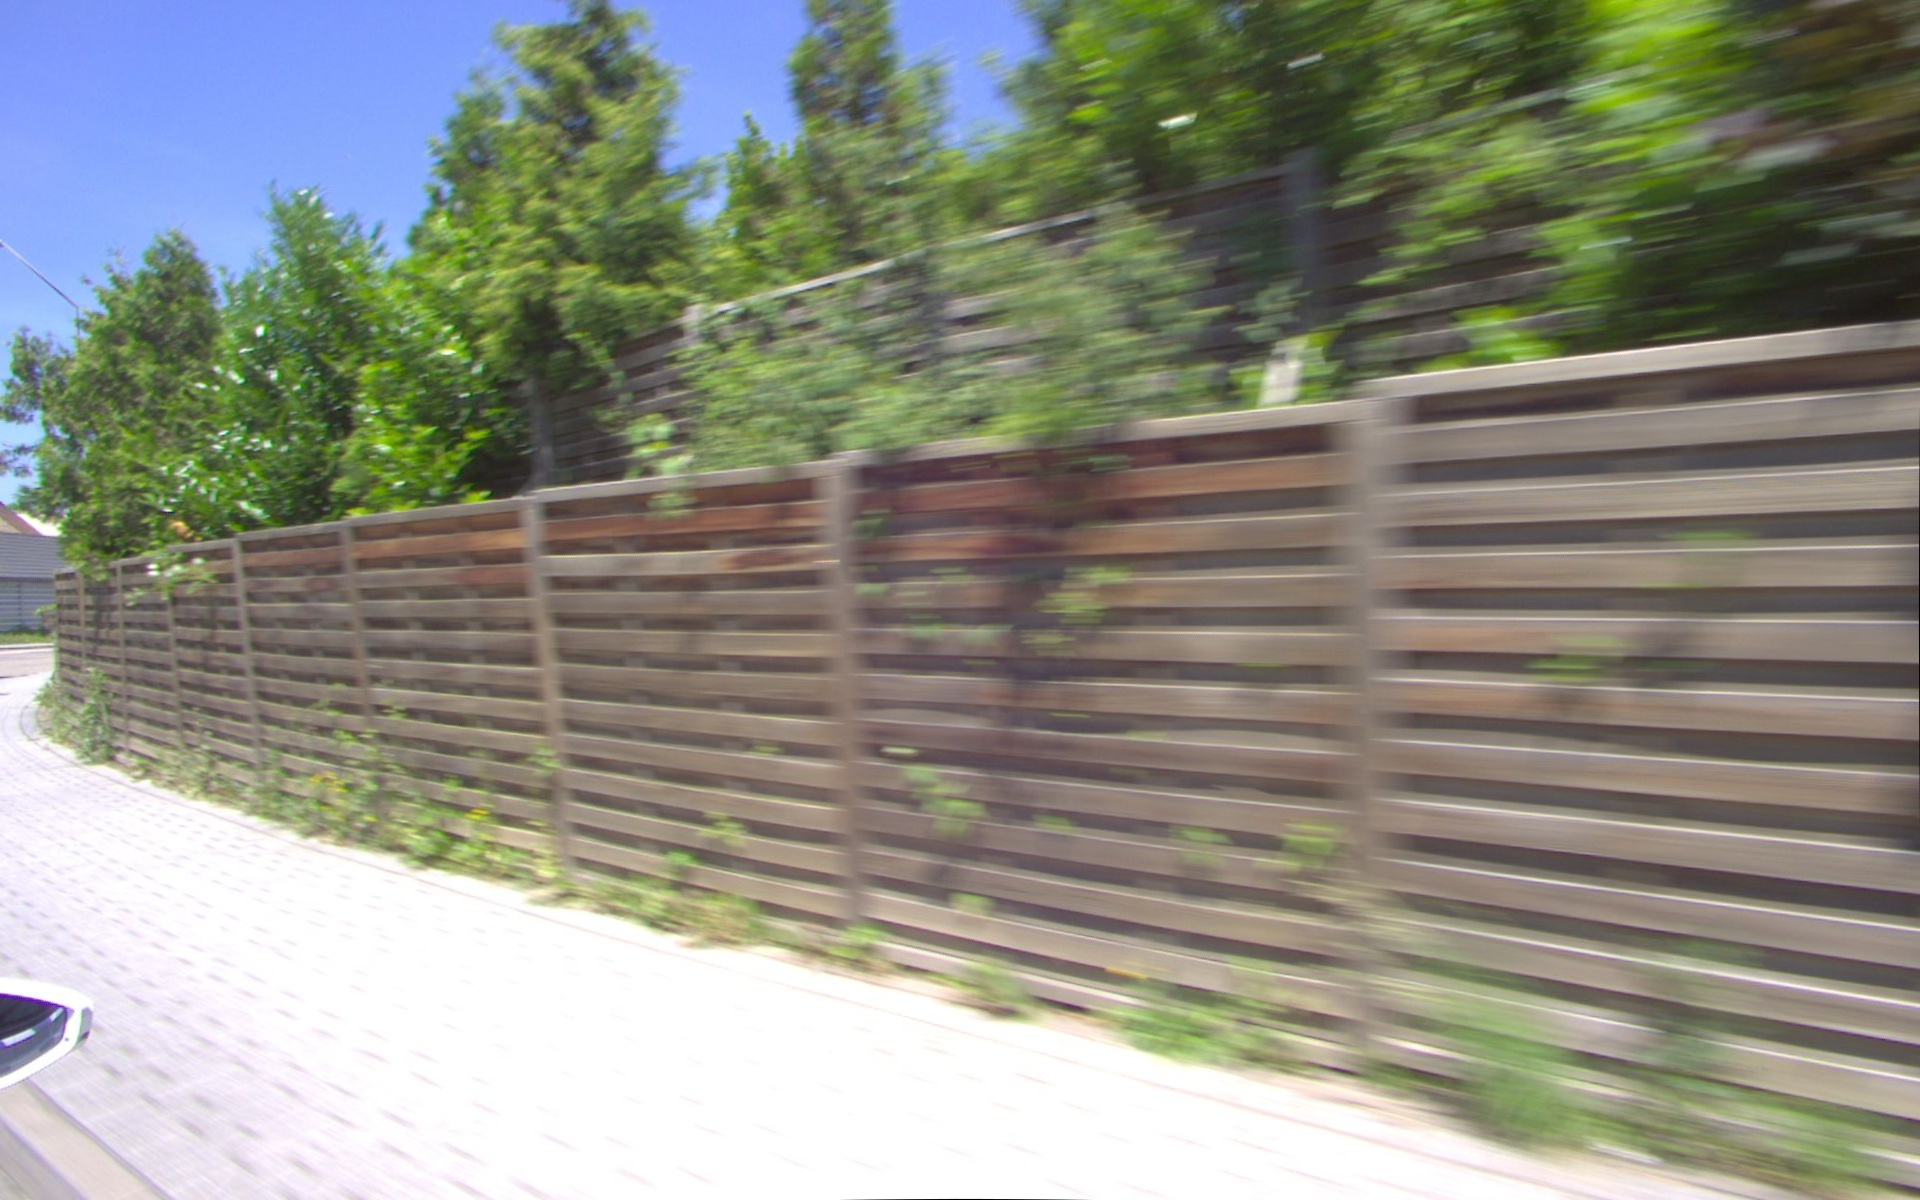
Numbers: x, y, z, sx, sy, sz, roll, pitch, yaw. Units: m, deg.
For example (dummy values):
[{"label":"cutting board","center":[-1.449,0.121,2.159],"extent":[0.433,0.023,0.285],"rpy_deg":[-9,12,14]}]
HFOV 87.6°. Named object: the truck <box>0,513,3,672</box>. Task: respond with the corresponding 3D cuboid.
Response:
[{"label":"truck","center":[-24.112,-0.201,22.322],"extent":[2.957,4.018,5.544],"rpy_deg":[0,0,-33]}]
